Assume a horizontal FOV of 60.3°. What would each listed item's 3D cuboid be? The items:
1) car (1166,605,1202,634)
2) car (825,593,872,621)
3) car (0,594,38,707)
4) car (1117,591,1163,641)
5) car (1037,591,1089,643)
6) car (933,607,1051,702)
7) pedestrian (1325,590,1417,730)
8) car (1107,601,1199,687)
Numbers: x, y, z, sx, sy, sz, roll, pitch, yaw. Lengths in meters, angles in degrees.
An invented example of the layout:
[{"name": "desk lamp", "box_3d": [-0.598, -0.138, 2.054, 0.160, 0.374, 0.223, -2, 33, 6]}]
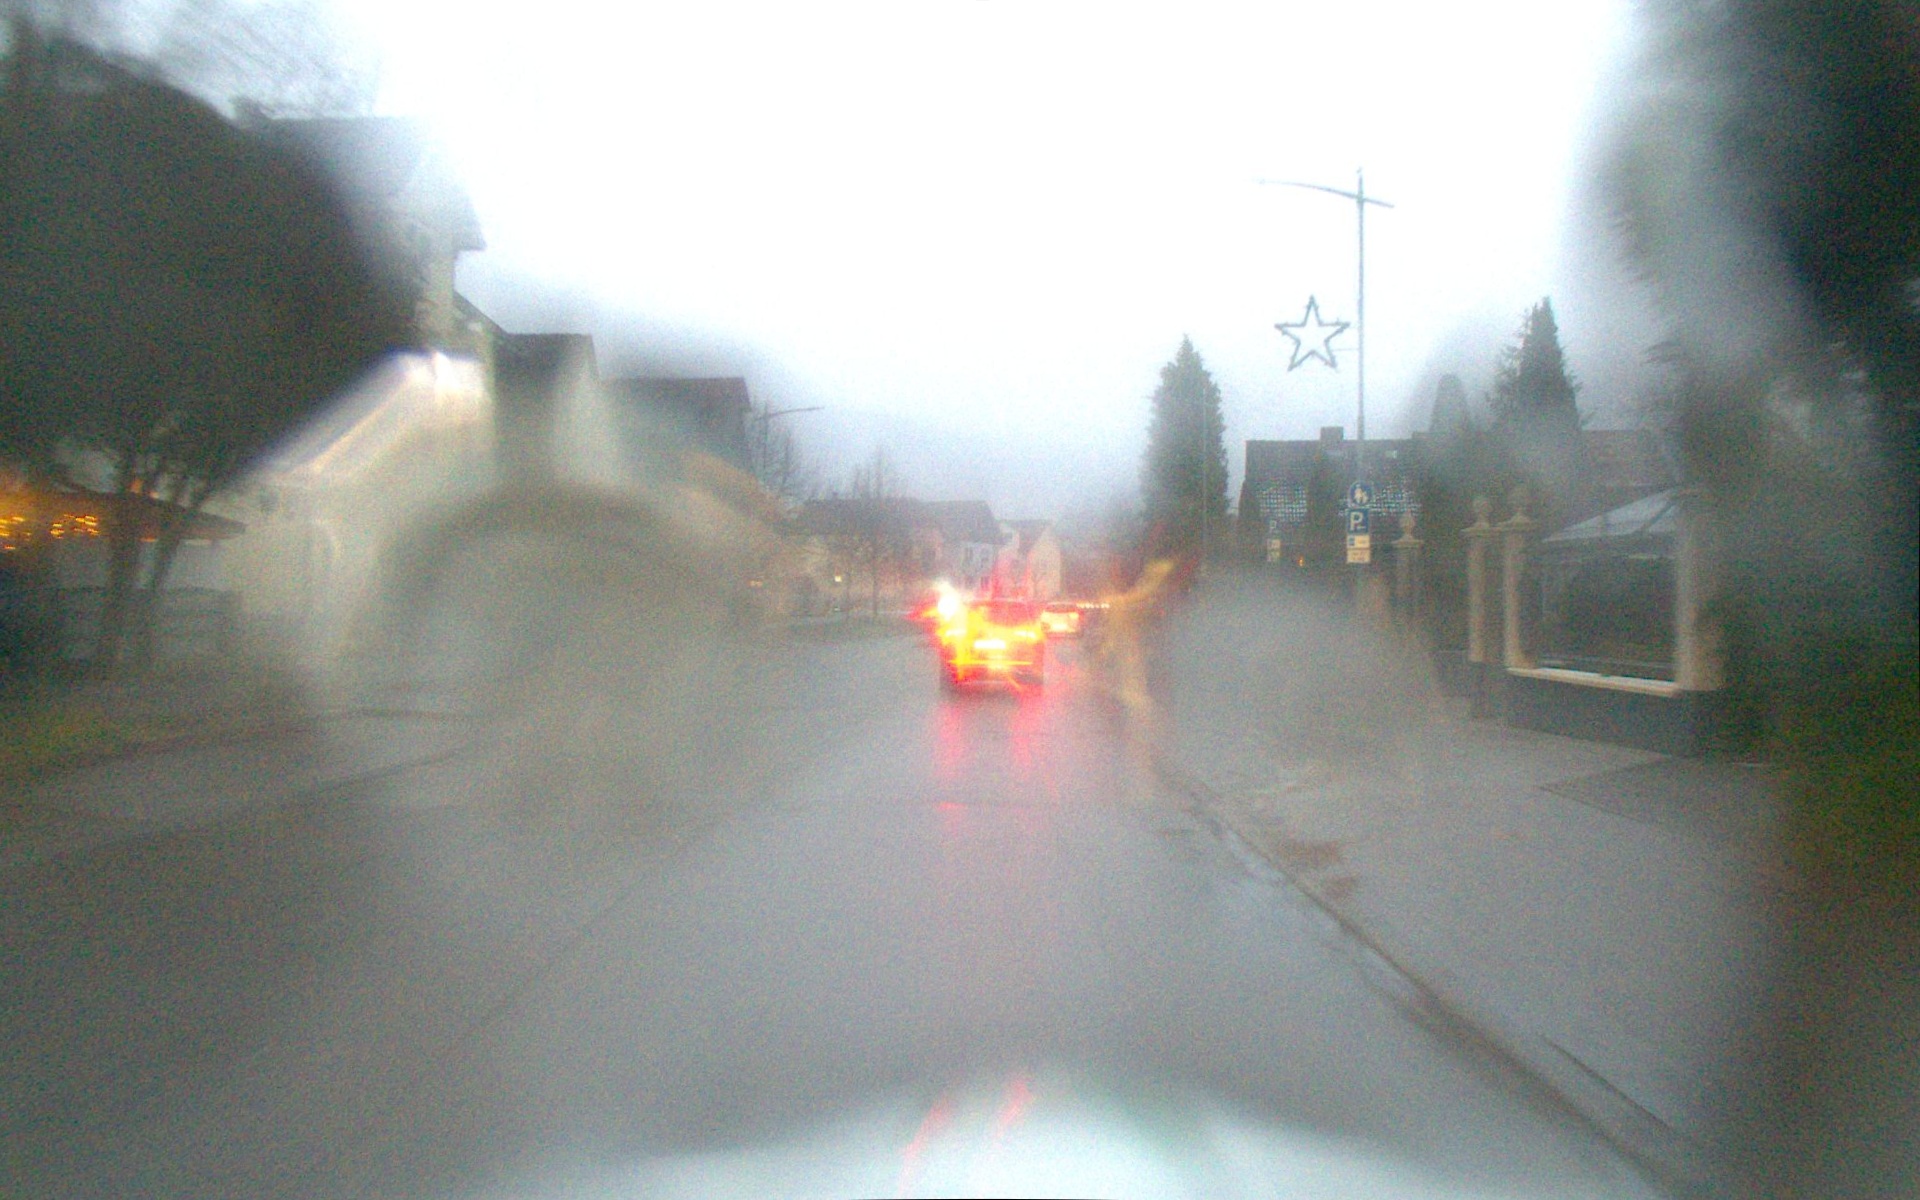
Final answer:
[{"name": "car", "box_3d": [14.606, 1.242, 107.643, 1.708, 1.816, 4.339, -2, 0, 15]}, {"name": "car", "box_3d": [-8.502, 0.548, 125.944, 1.953, 2.049, 3.999, 2, 0, 22]}, {"name": "car", "box_3d": [-12.821, 0.582, 19.188, 1.744, 1.390, 4.002, 1, -1, 4]}, {"name": "car", "box_3d": [8.033, 0.687, 73.548, 1.935, 2.049, 5.749, -2, 0, 7]}, {"name": "car", "box_3d": [4.199, 0.702, 67.704, 1.952, 2.049, 4.000, 1, -1, 1]}, {"name": "car", "box_3d": [0.555, 0.933, 29.691, 1.952, 1.552, 4.000, 1, 0, 0]}, {"name": "pedestrian", "box_3d": [5.393, 0.775, 21.766, 0.967, 1.772, 1.056, -1, -1, 3]}, {"name": "car", "box_3d": [3.870, 0.862, 33.589, 1.615, 1.567, 3.392, -3, -1, 4]}]
